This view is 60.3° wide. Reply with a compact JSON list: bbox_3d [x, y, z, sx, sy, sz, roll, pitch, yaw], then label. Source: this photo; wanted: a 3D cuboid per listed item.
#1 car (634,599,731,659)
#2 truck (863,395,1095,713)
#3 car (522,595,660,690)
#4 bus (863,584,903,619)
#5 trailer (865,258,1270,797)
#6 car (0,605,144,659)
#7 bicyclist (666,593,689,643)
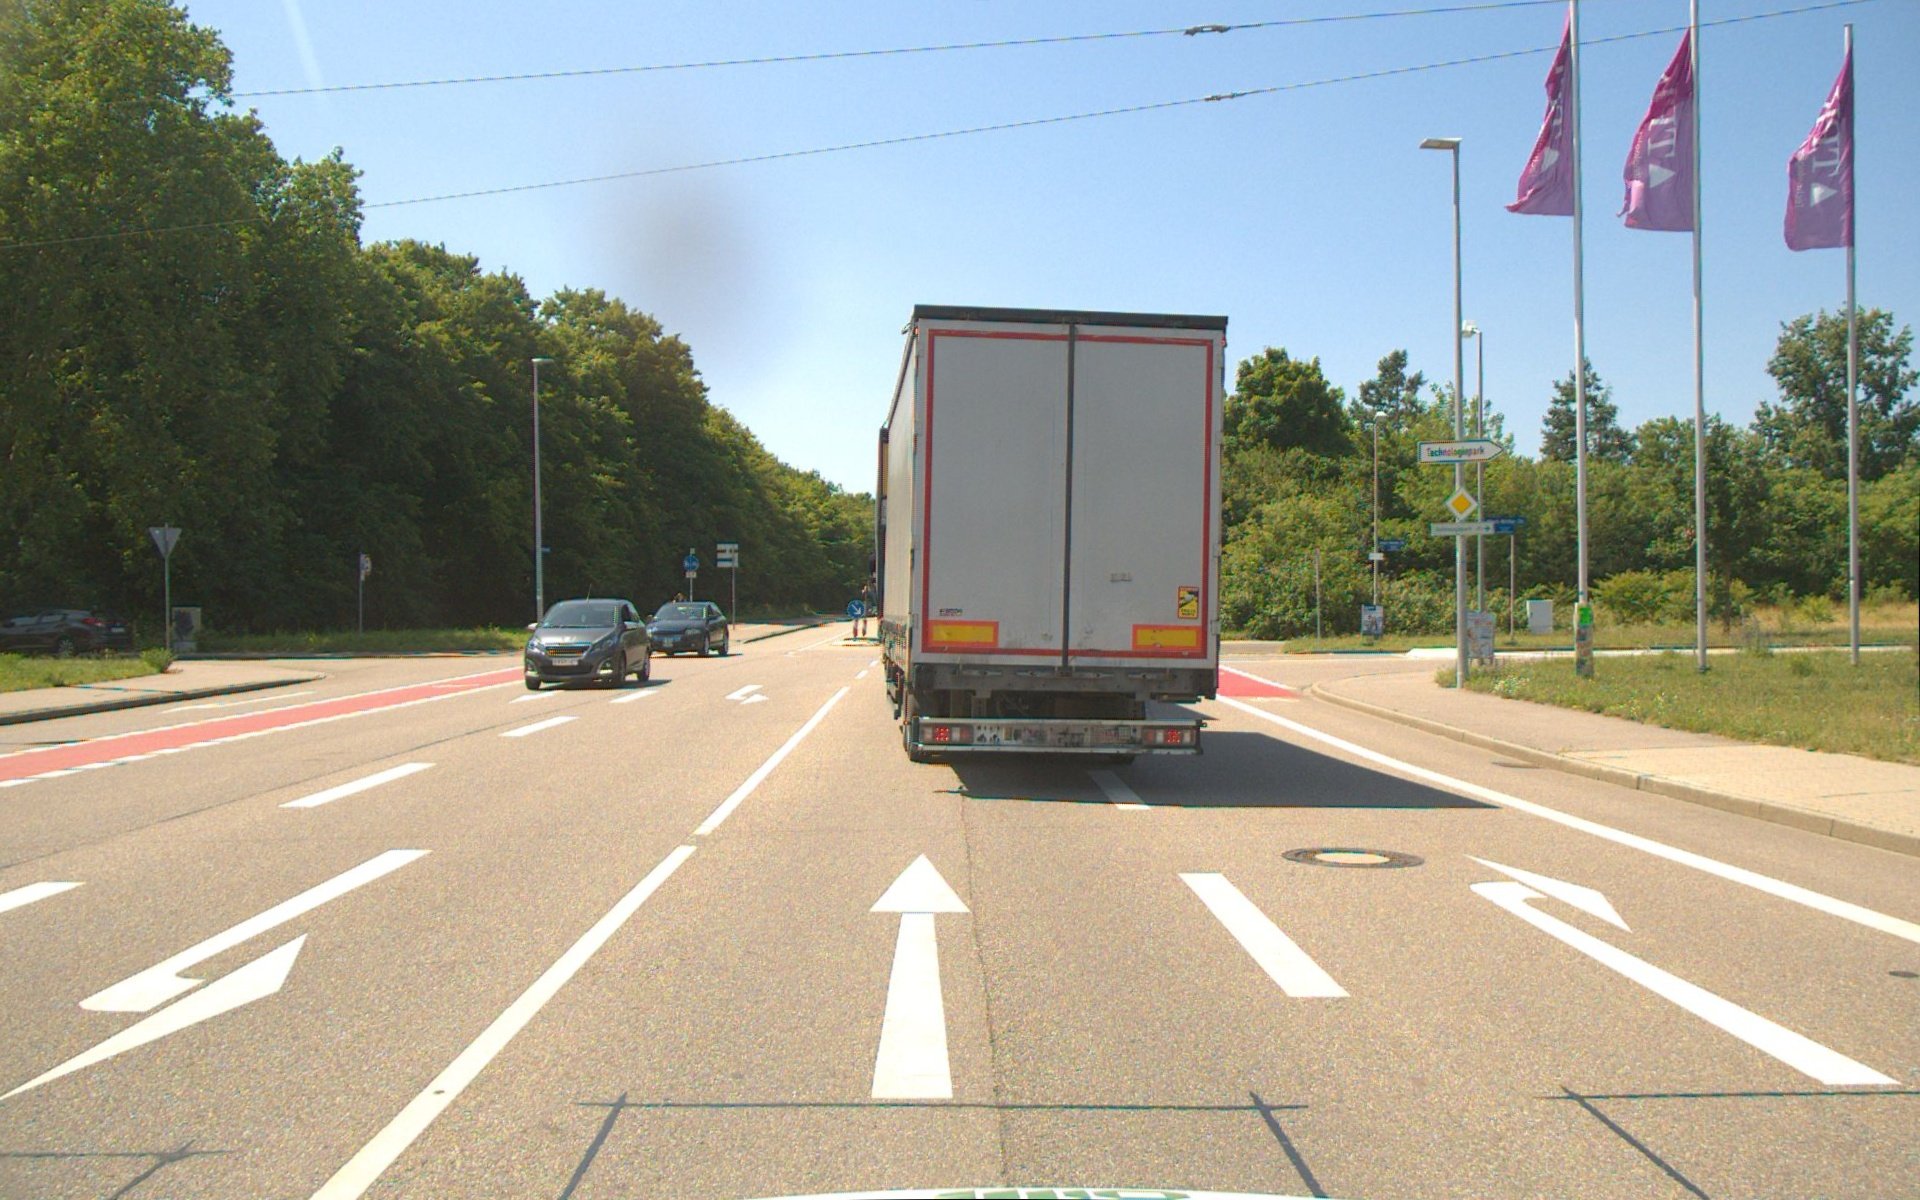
[{"bbox_3d":[-7.364,0.726,44.260,1.707,1.430,4.442,0,1,2],"label":"car"},{"bbox_3d":[0.033,-0.601,25.636,3.016,4.141,7.954,0,0,-3],"label":"truck"},{"bbox_3d":[-6.281,0.687,28.454,1.589,1.481,3.501,-2,0,-1],"label":"car"},{"bbox_3d":[-7.459,0.102,161.750,2.692,3.098,11.943,-3,1,3],"label":"bus"},{"bbox_3d":[0.570,-0.563,17.734,3.016,4.141,9.800,0,0,-4],"label":"trailer"},{"bbox_3d":[-25.565,0.913,46.792,4.207,1.442,1.668,-1,-1,8],"label":"car"},{"bbox_3d":[-10.015,0.639,58.725,0.651,1.735,0.769,1,0,1],"label":"bicyclist"}]
